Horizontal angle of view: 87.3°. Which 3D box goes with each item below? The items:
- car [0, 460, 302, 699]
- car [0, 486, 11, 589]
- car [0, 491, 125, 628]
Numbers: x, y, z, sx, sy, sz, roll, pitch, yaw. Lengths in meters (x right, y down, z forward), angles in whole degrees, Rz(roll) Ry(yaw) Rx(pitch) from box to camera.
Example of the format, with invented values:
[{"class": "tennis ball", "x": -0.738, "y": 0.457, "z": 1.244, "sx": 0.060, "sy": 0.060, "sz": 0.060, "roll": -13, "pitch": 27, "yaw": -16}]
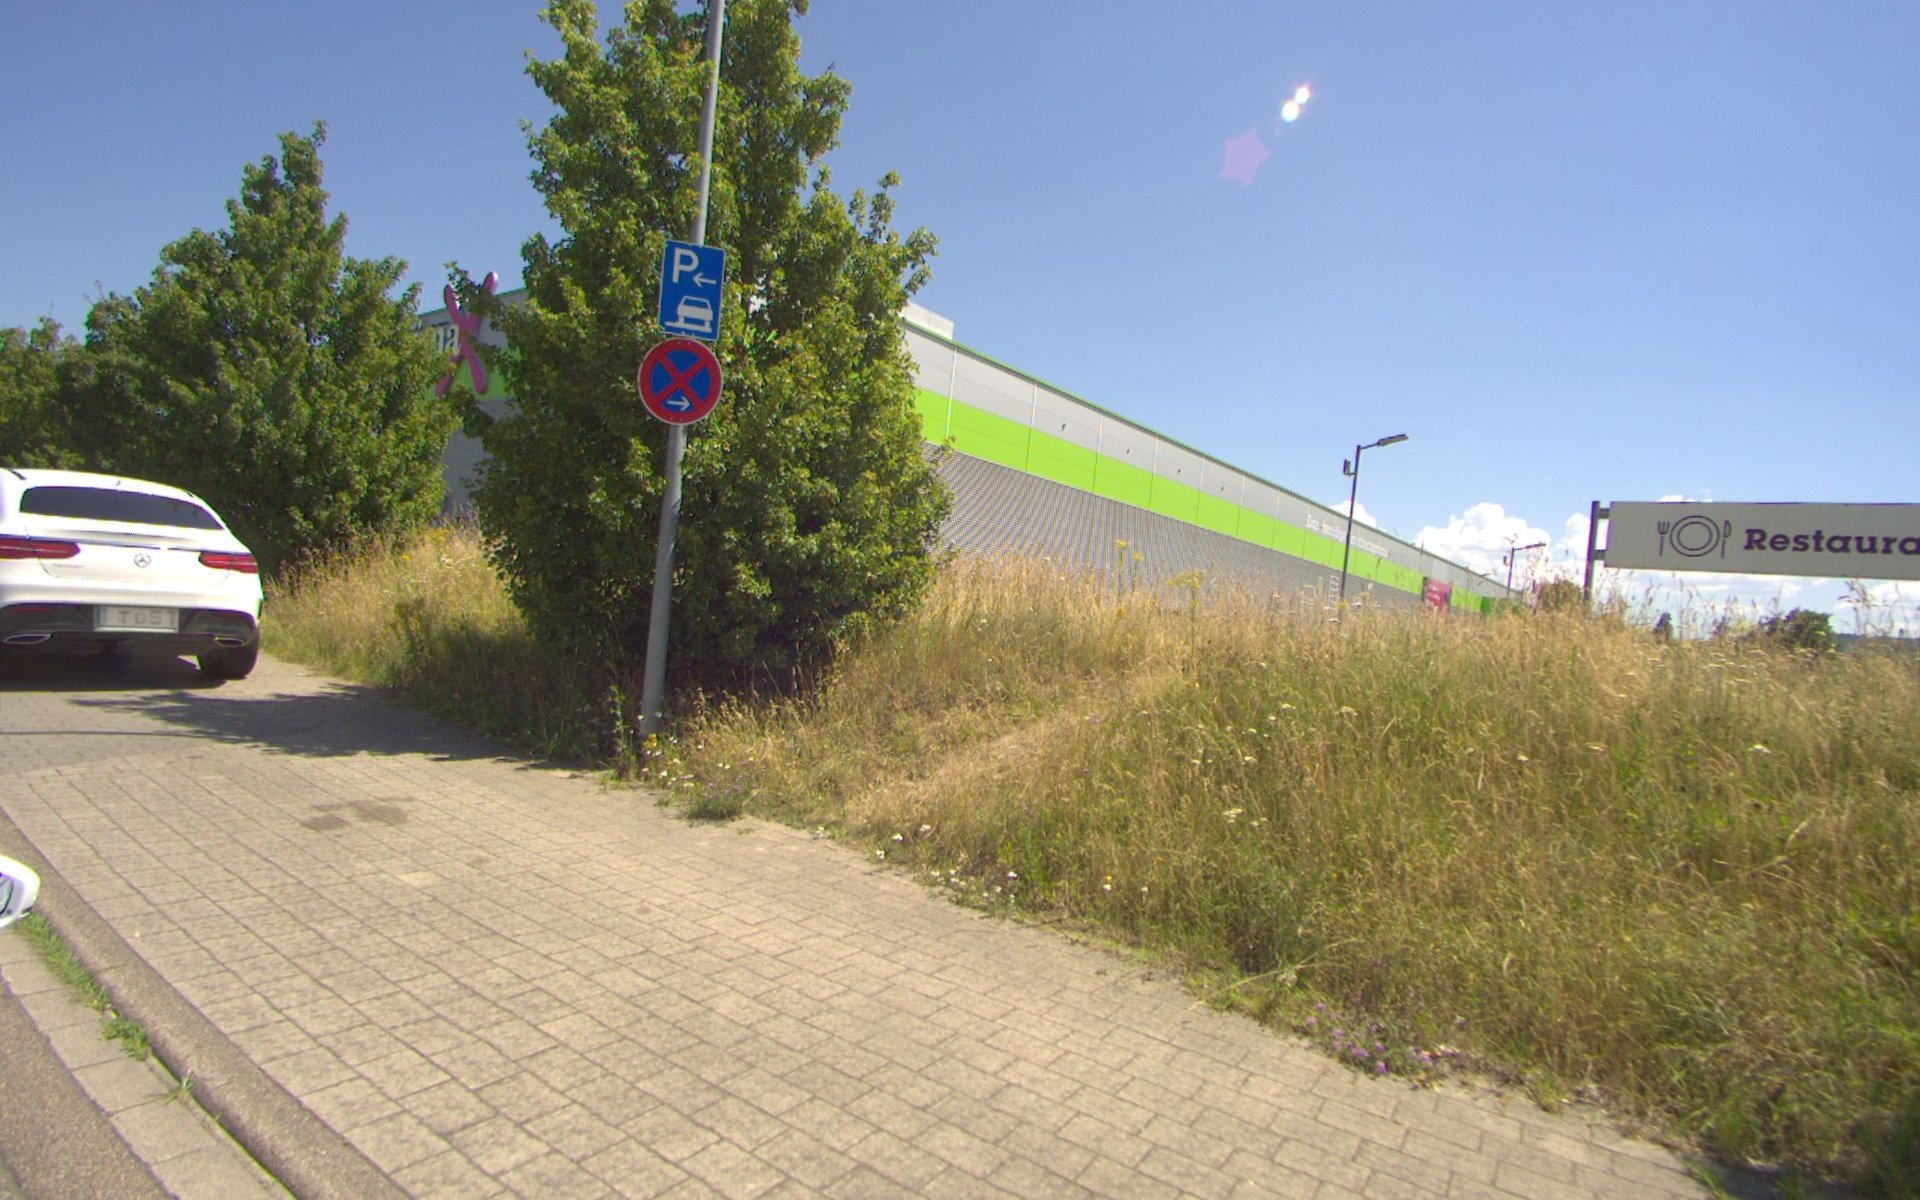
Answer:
[{"class": "car", "x": -8.200, "y": -0.282, "z": 9.343, "sx": 4.716, "sy": 1.721, "sz": 2.140, "roll": 6, "pitch": 1, "yaw": 40}, {"class": "car", "x": -17.713, "y": -1.215, "z": 17.055, "sx": 4.394, "sy": 1.657, "sz": 1.801, "roll": 6, "pitch": 1, "yaw": 40}, {"class": "car", "x": -12.695, "y": -0.645, "z": 12.951, "sx": 4.558, "sy": 1.549, "sz": 1.902, "roll": 6, "pitch": 1, "yaw": 36}]
